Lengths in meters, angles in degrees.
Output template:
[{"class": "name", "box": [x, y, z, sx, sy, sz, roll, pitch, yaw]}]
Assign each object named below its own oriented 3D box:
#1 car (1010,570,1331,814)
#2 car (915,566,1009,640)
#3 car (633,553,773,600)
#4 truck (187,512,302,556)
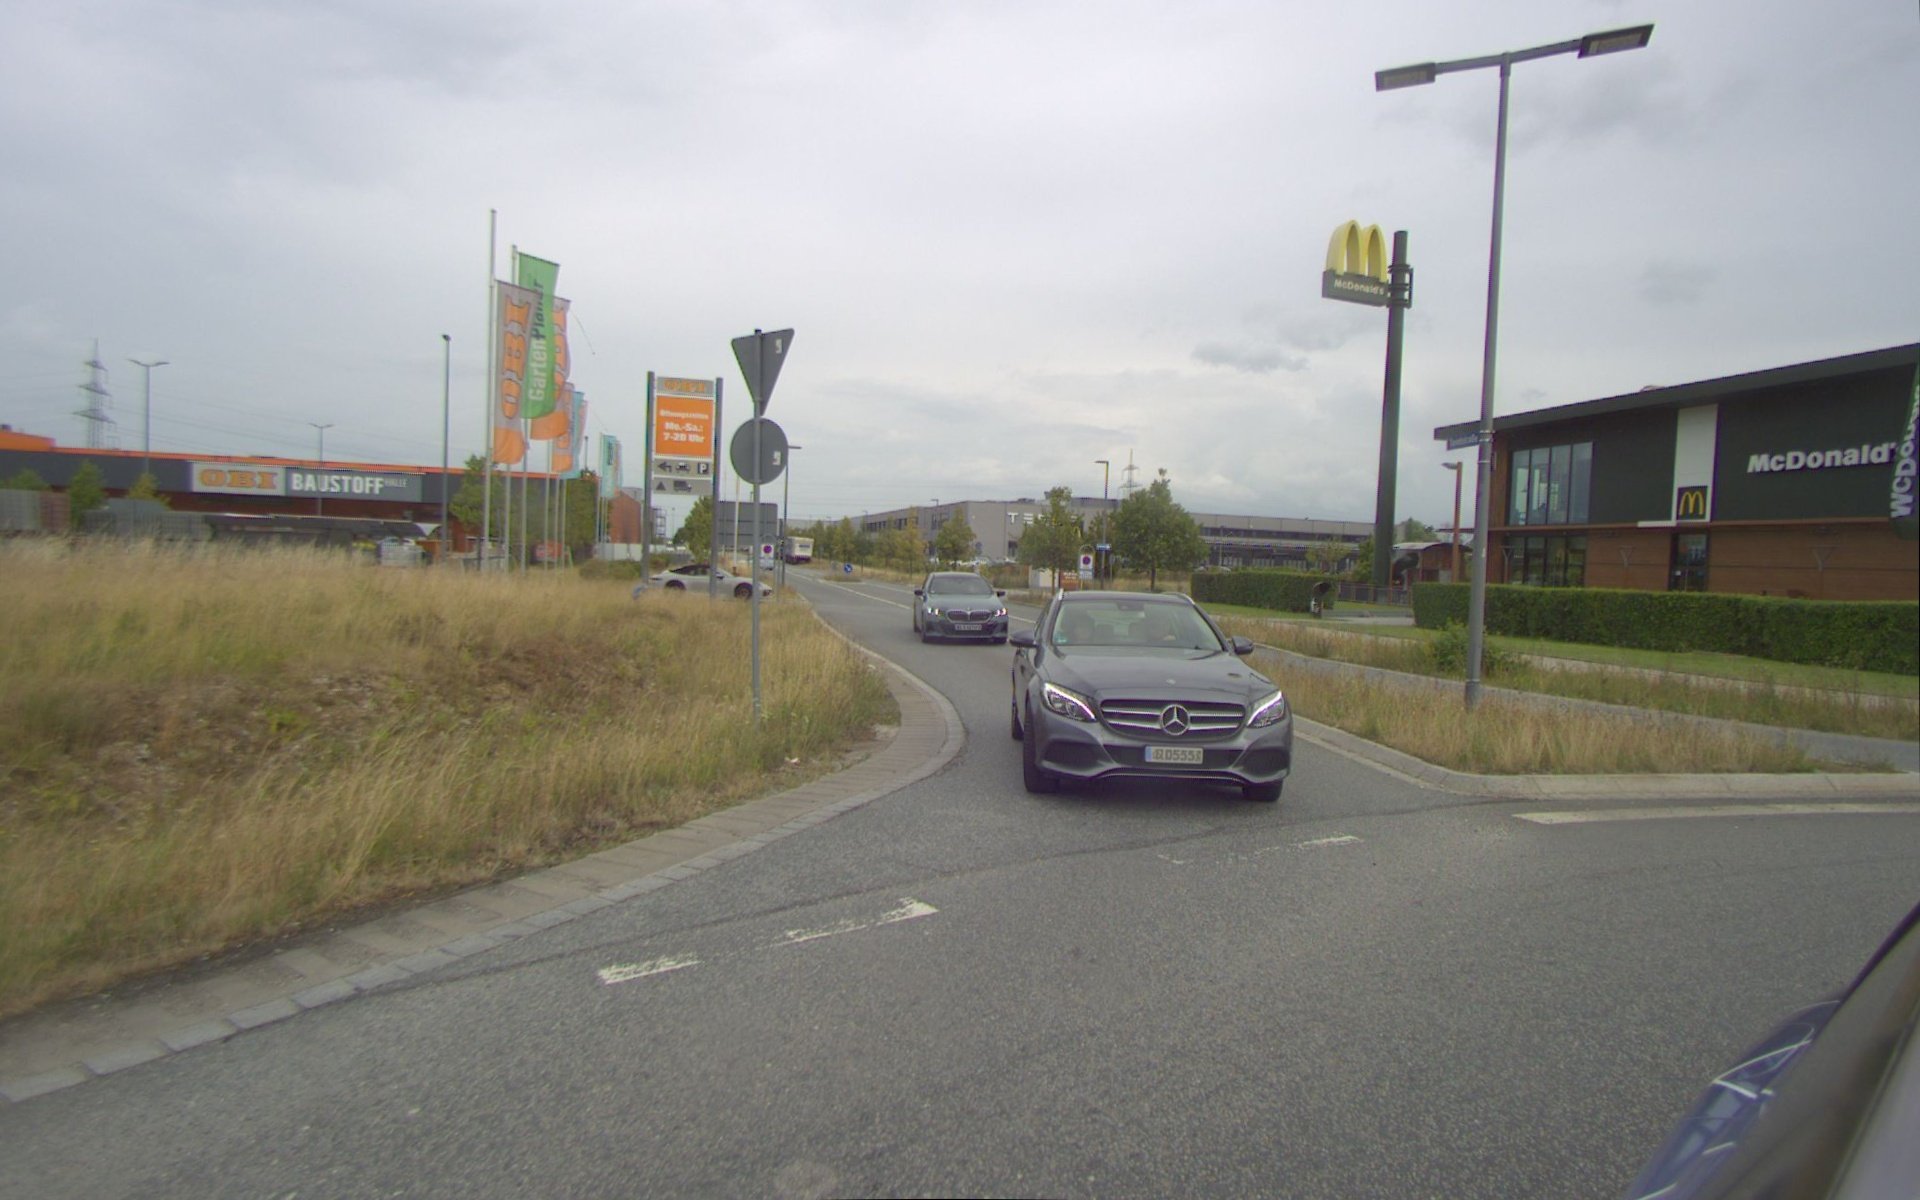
[{"class": "car", "box": [1.421, 0.557, 8.466, 1.894, 1.421, 4.682, 1, 0, 4]}, {"class": "car", "box": [0.012, 0.015, 23.477, 1.962, 1.526, 4.684, 1, 1, -1]}, {"class": "car", "box": [-9.126, -0.823, 36.254, 4.660, 1.421, 1.746, 2, 1, -9]}, {"class": "truck", "box": [-44.665, -4.110, 63.339, 5.433, 2.515, 2.446, 0, 1, -19]}]
